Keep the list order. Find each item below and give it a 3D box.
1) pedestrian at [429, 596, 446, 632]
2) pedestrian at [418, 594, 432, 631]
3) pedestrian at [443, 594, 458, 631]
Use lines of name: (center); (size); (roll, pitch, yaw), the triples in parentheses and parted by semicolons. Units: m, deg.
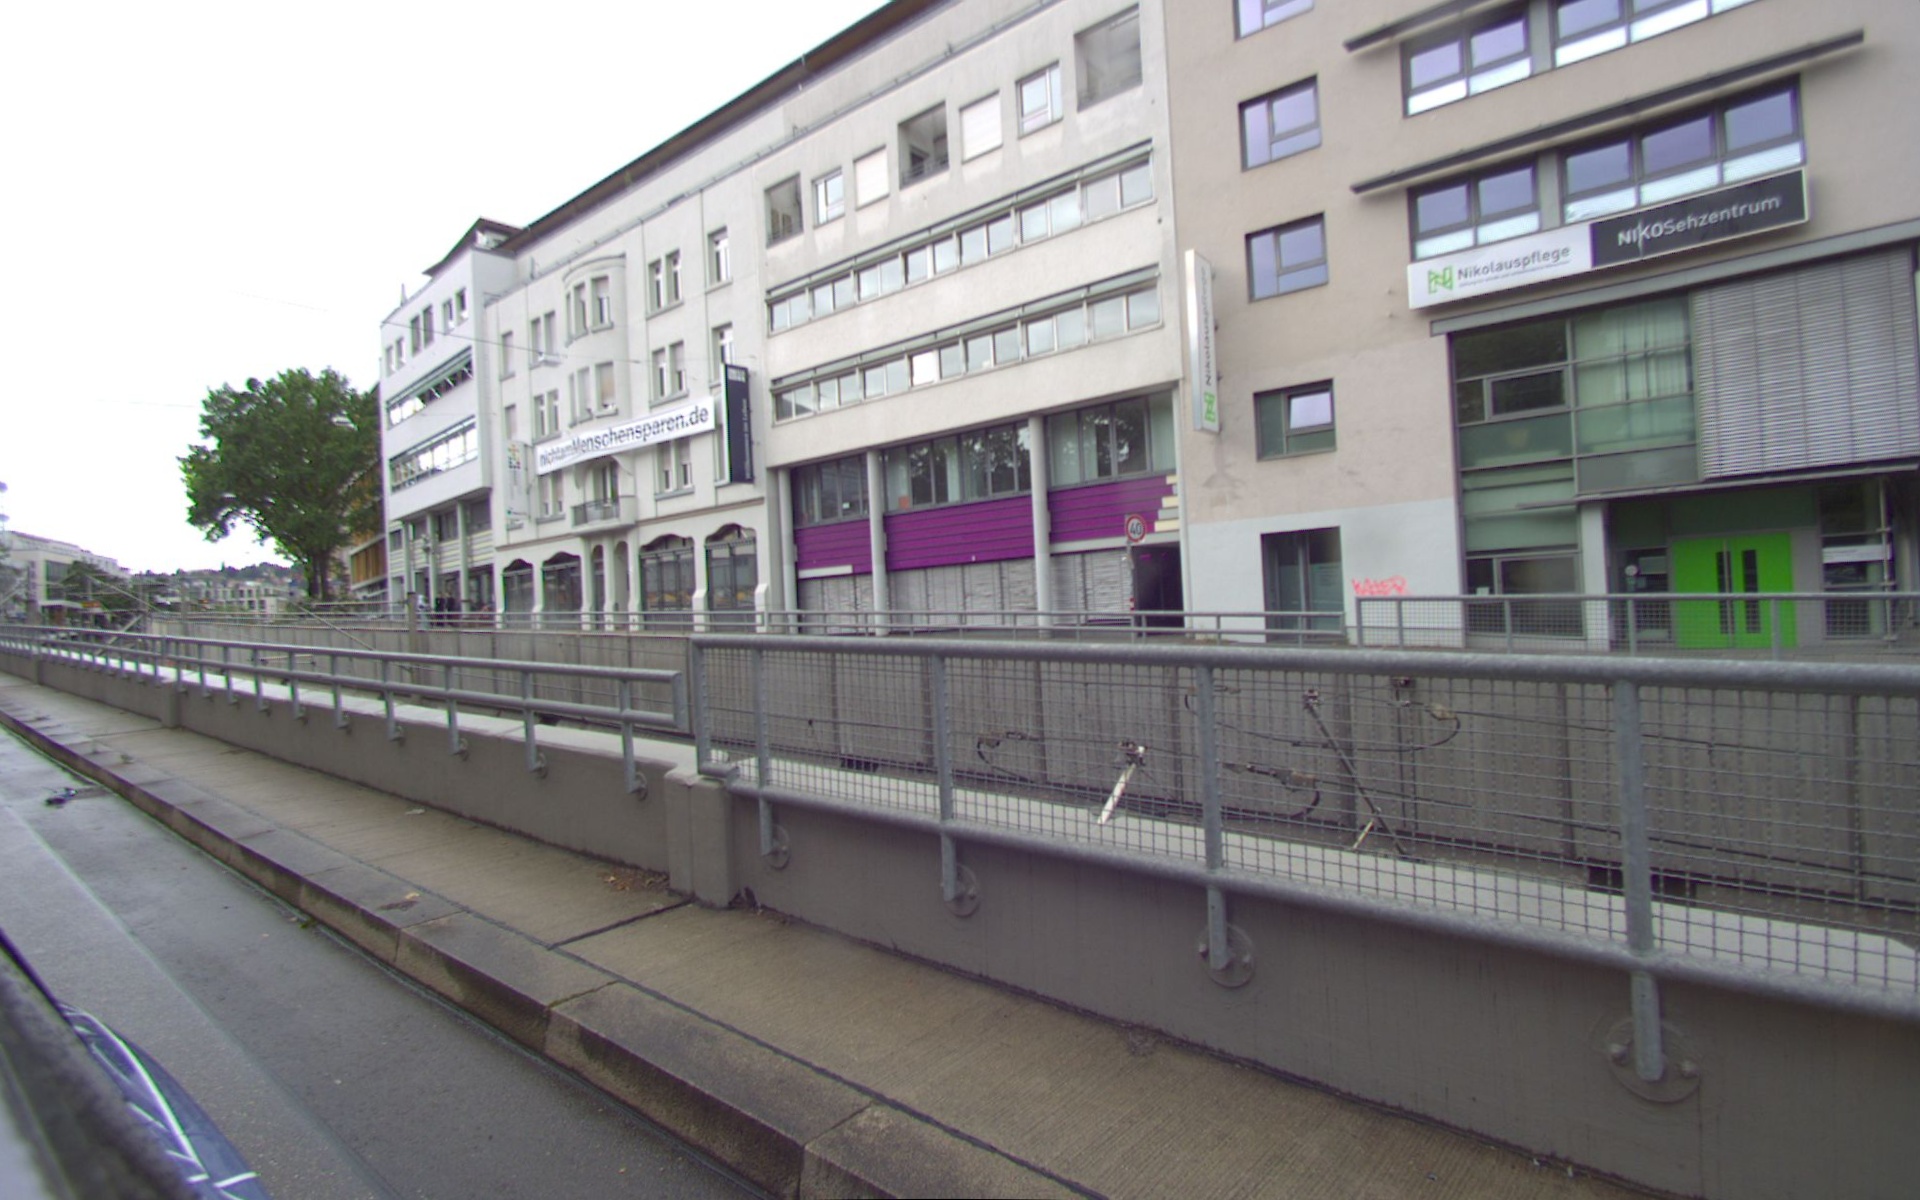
pedestrian: (-26.429, 0.712, 51.212); (0.469, 1.816, 0.541); (-2, 1, 33)
pedestrian: (-26.752, 0.616, 50.584); (0.463, 1.816, 0.548); (-3, 1, -42)
pedestrian: (-25.414, 0.613, 50.464); (0.547, 1.816, 0.463); (-2, 1, 44)
